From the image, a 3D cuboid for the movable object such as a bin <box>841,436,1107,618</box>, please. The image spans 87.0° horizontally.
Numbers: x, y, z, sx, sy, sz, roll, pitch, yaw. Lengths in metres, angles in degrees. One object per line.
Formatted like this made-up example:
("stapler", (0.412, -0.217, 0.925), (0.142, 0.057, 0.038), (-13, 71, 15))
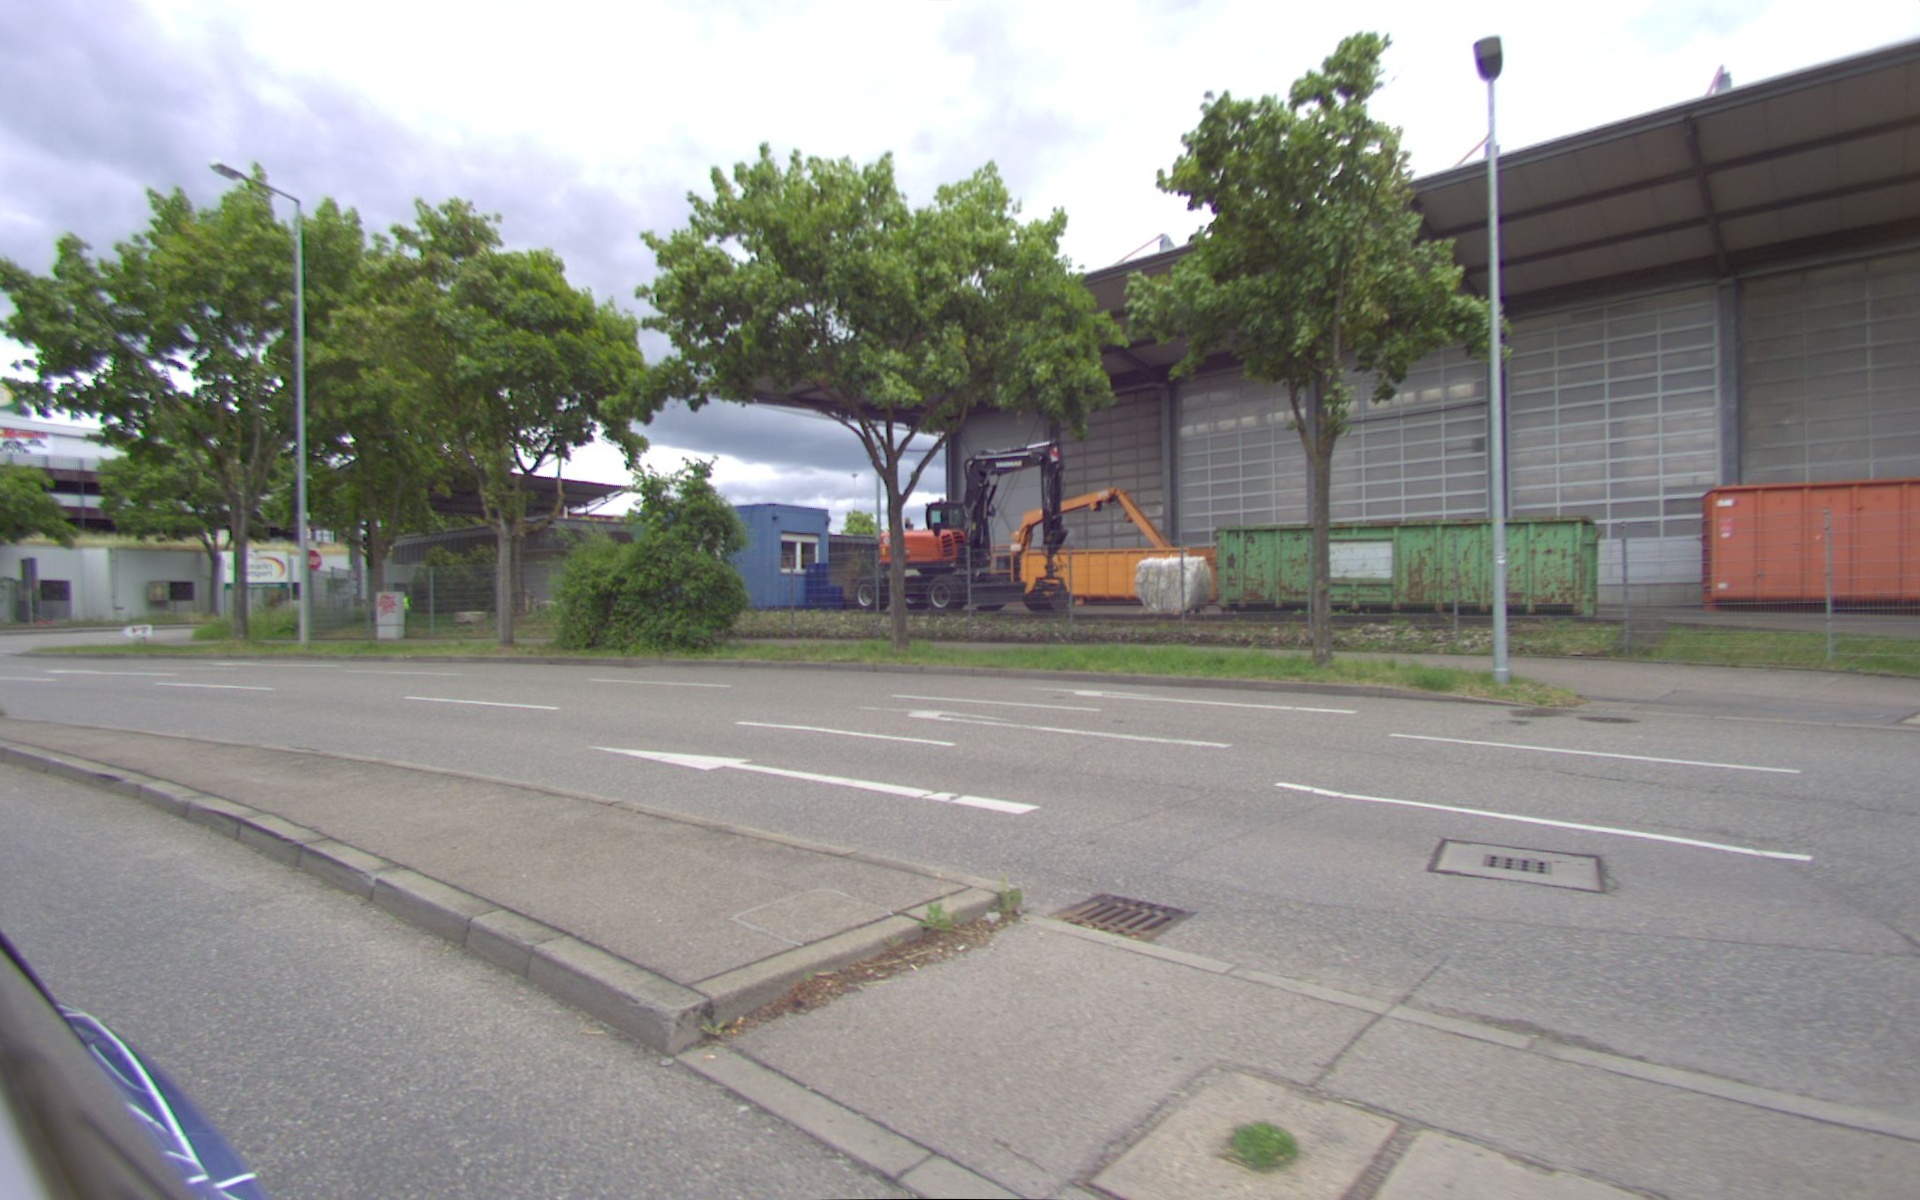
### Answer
("movable object such as a bin", (0.266, -1.659, 26.416), (6.537, 4.122, 2.701), (-2, -1, 35))
